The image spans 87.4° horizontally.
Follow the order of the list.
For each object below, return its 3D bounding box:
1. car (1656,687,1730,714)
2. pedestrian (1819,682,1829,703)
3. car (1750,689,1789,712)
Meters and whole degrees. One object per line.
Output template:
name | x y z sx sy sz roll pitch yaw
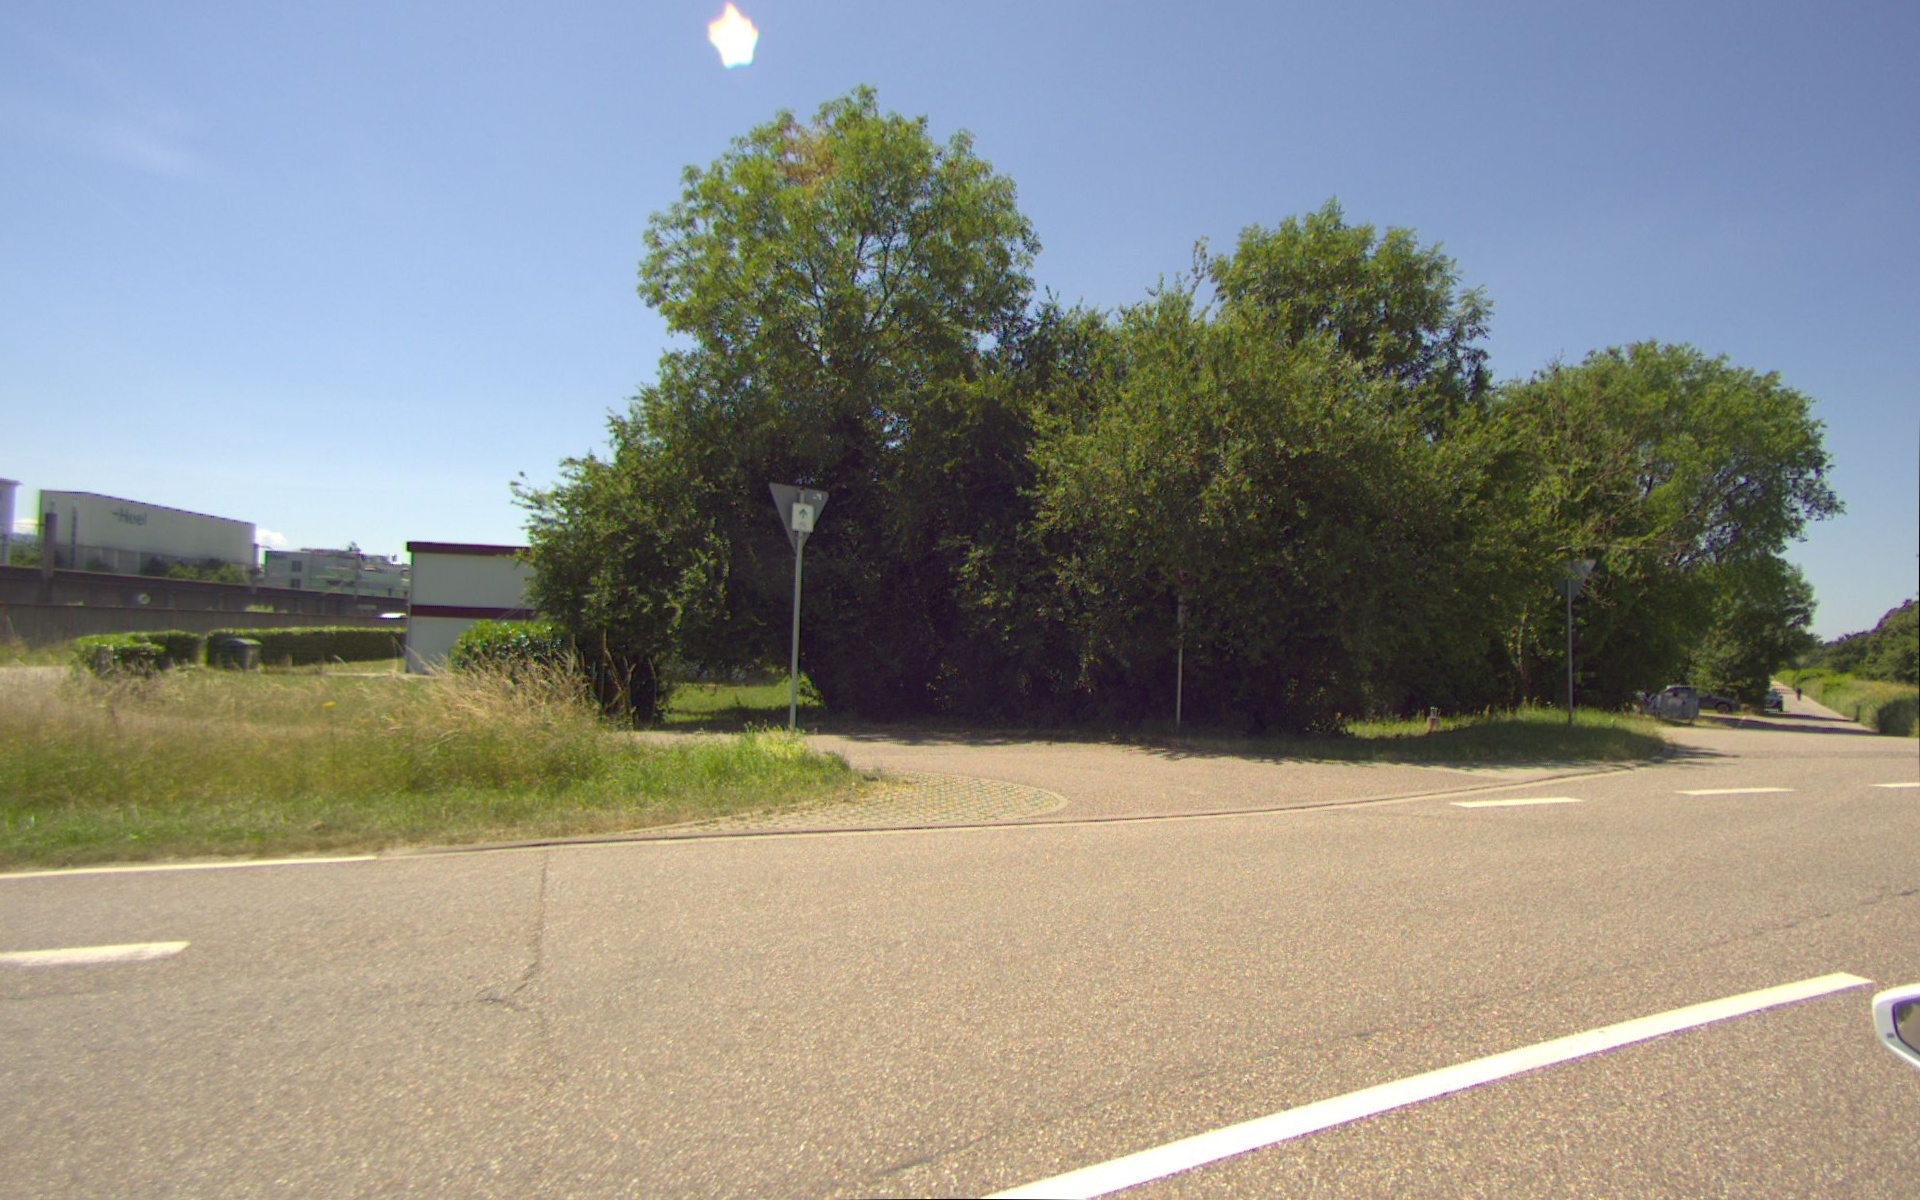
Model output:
car | 49.137 6.721 67.396 3.937 1.591 1.993 -1 -4 38
pedestrian | 85.969 9.191 99.958 0.603 2.040 0.624 -1 -3 34
car | 63.625 7.902 78.981 1.966 1.616 3.990 0 -4 33
